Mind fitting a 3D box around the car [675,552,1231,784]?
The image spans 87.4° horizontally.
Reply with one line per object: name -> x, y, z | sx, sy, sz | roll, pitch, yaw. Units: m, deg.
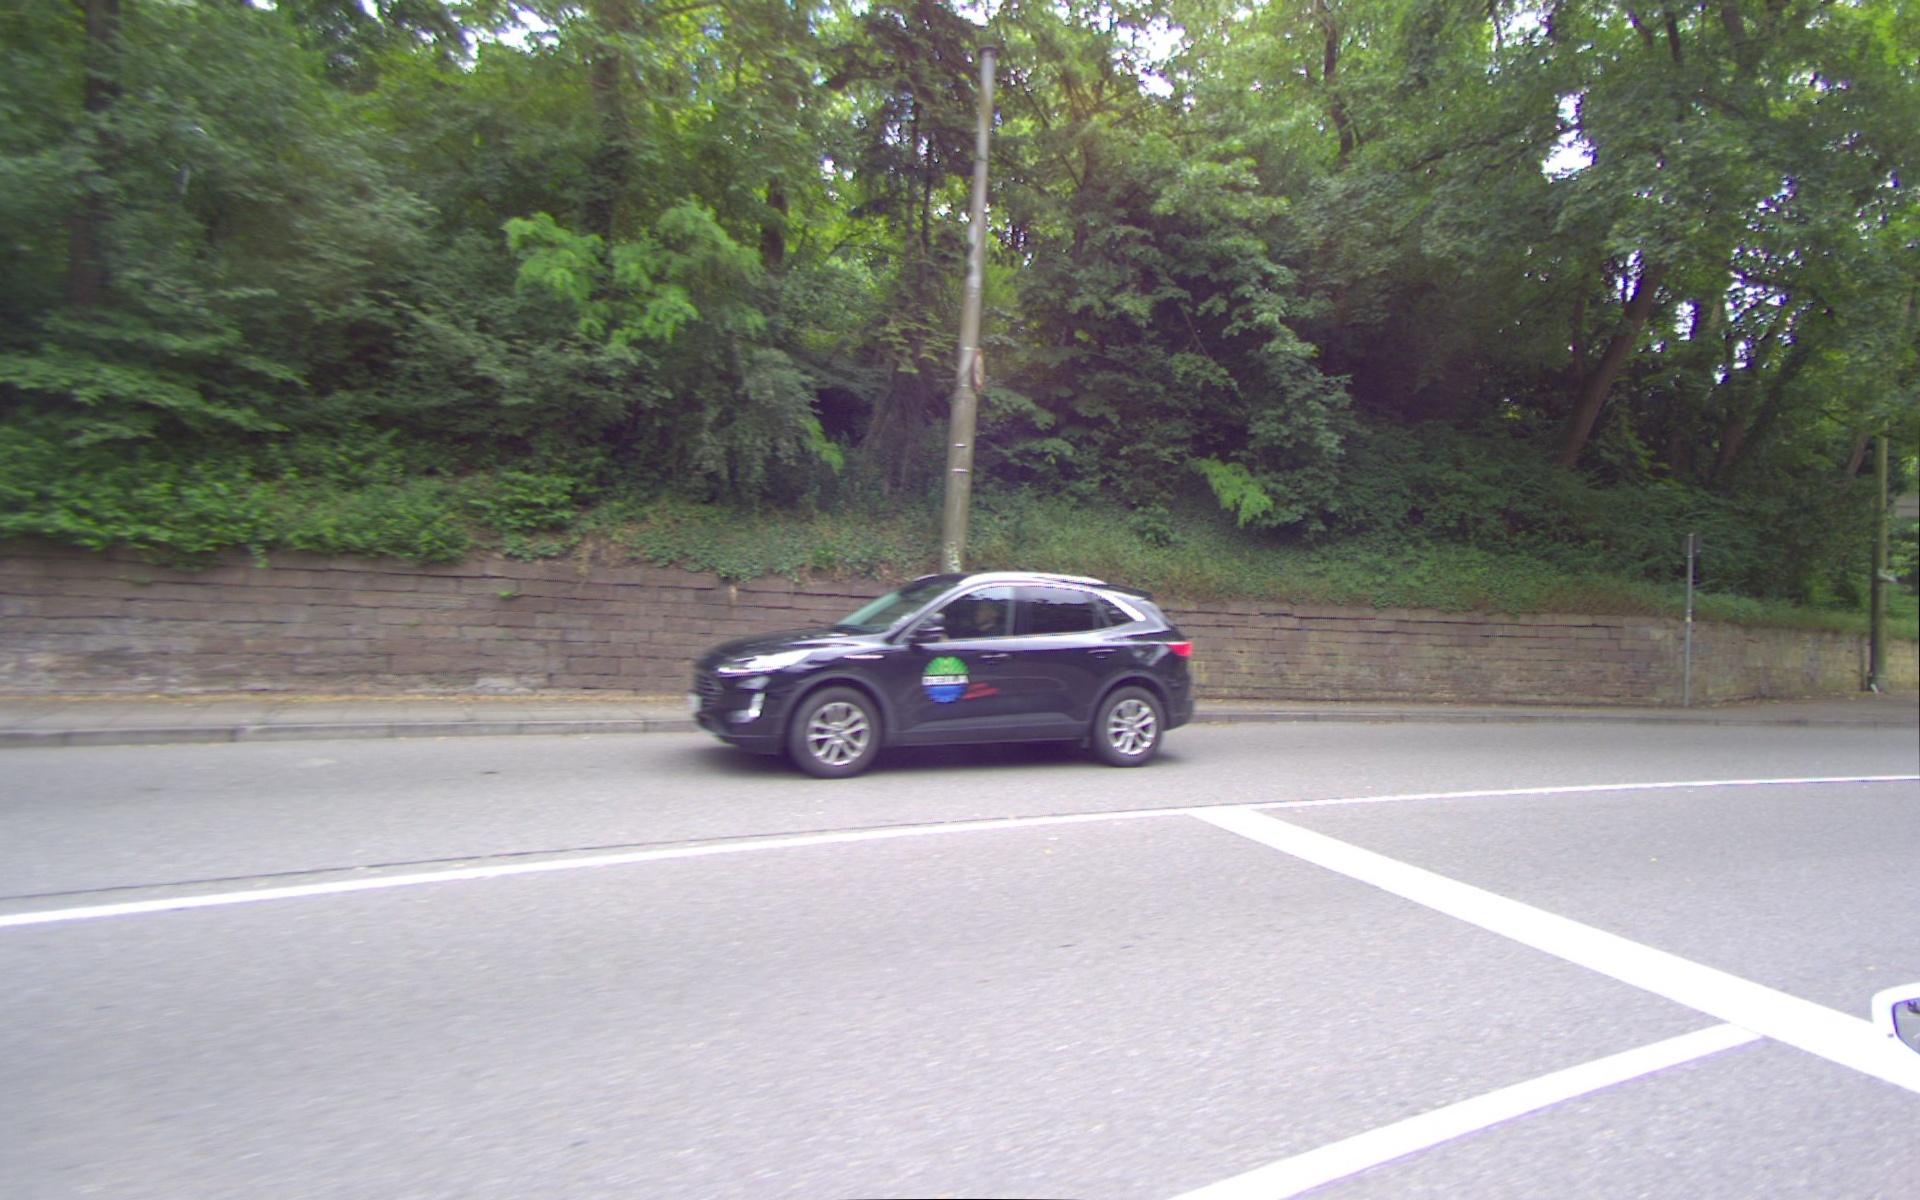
car -> -0.026, 0.553, 8.879 | 4.585, 1.646, 1.750 | 2, 0, -24

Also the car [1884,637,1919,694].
car -> 29.302, 1.943, 29.209 | 1.772, 1.706, 4.545 | 0, -2, 17
